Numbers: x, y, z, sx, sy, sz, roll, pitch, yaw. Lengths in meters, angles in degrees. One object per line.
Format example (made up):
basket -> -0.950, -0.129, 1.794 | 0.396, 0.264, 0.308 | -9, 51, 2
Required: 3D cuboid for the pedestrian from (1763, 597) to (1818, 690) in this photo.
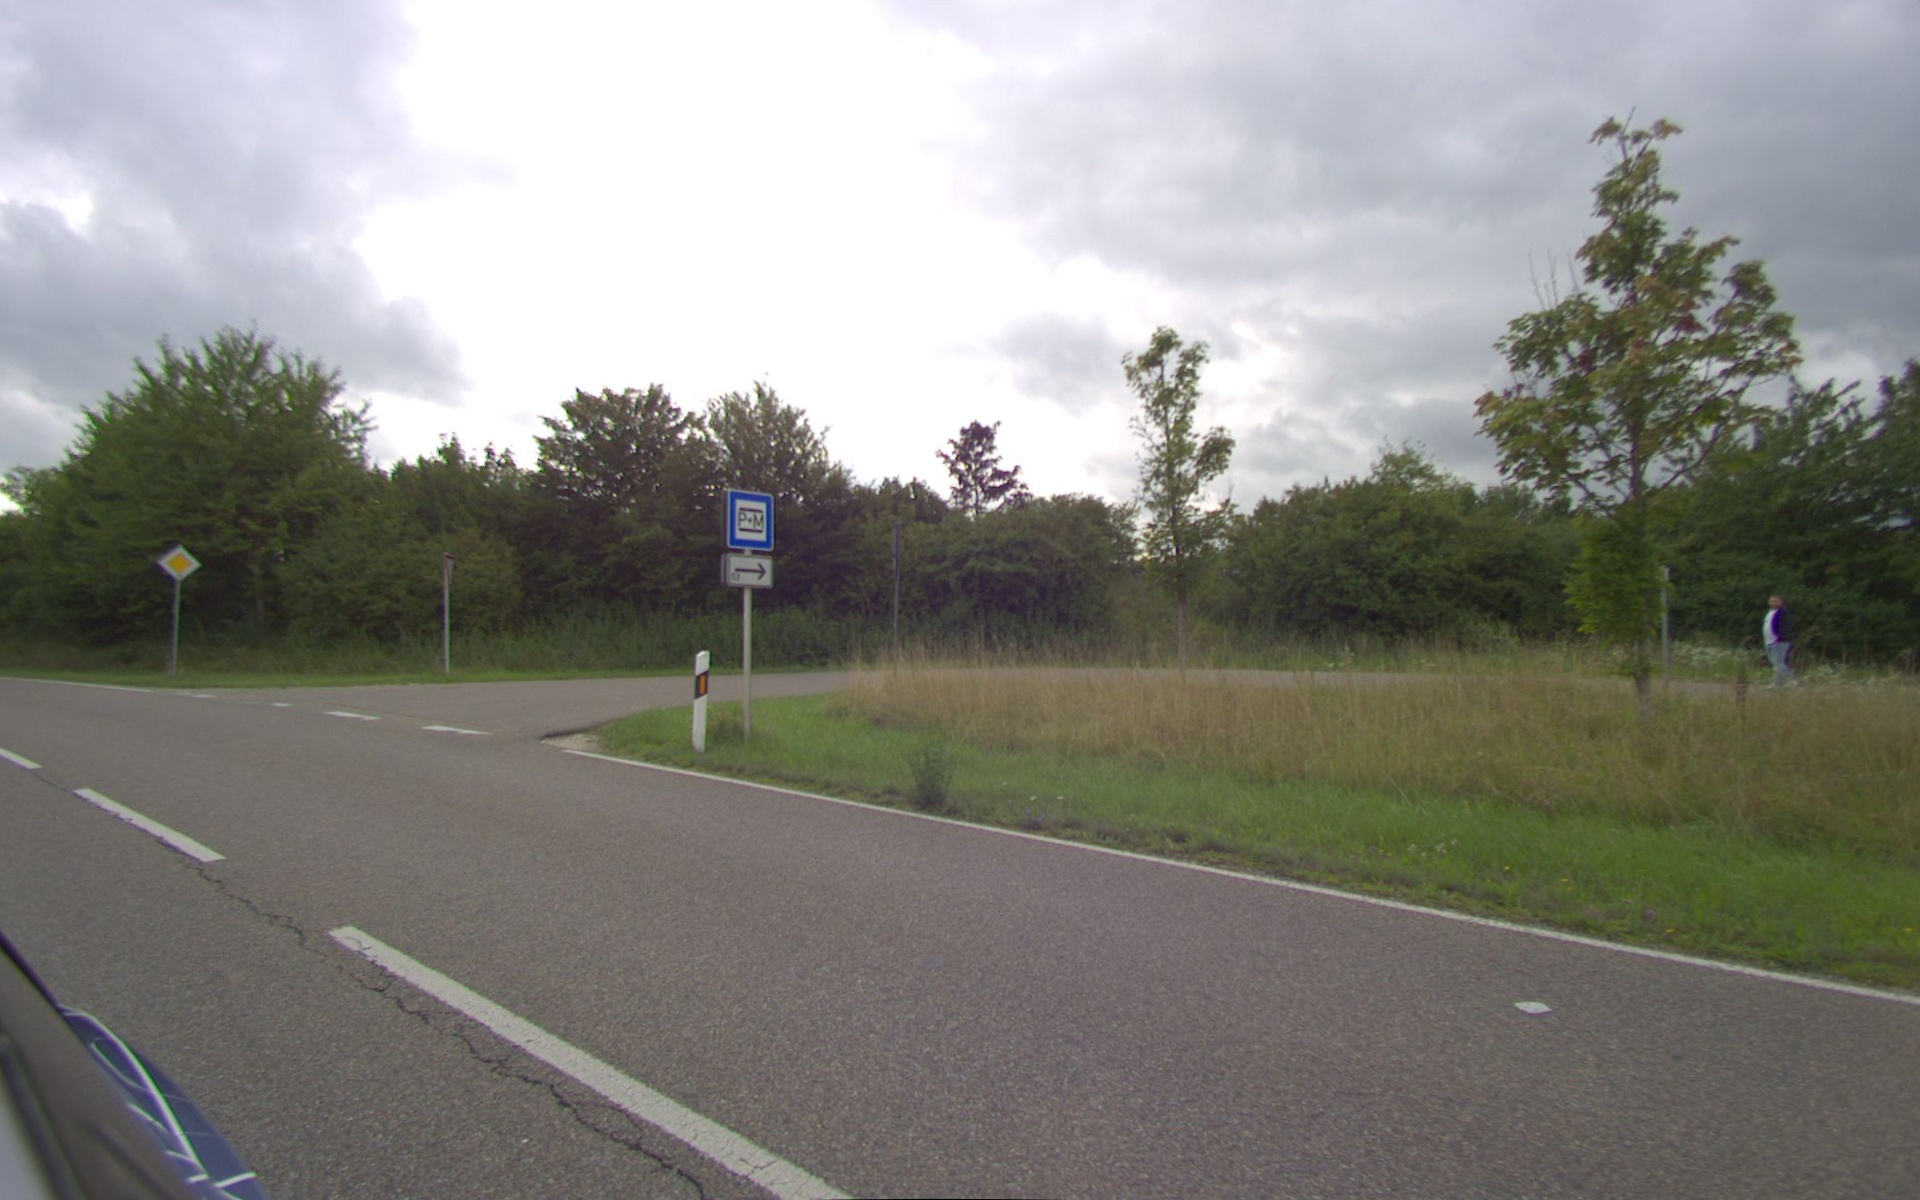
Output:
pedestrian -> 15.288, 0.784, 18.645 | 0.658, 1.679, 0.511 | -1, -1, 30
